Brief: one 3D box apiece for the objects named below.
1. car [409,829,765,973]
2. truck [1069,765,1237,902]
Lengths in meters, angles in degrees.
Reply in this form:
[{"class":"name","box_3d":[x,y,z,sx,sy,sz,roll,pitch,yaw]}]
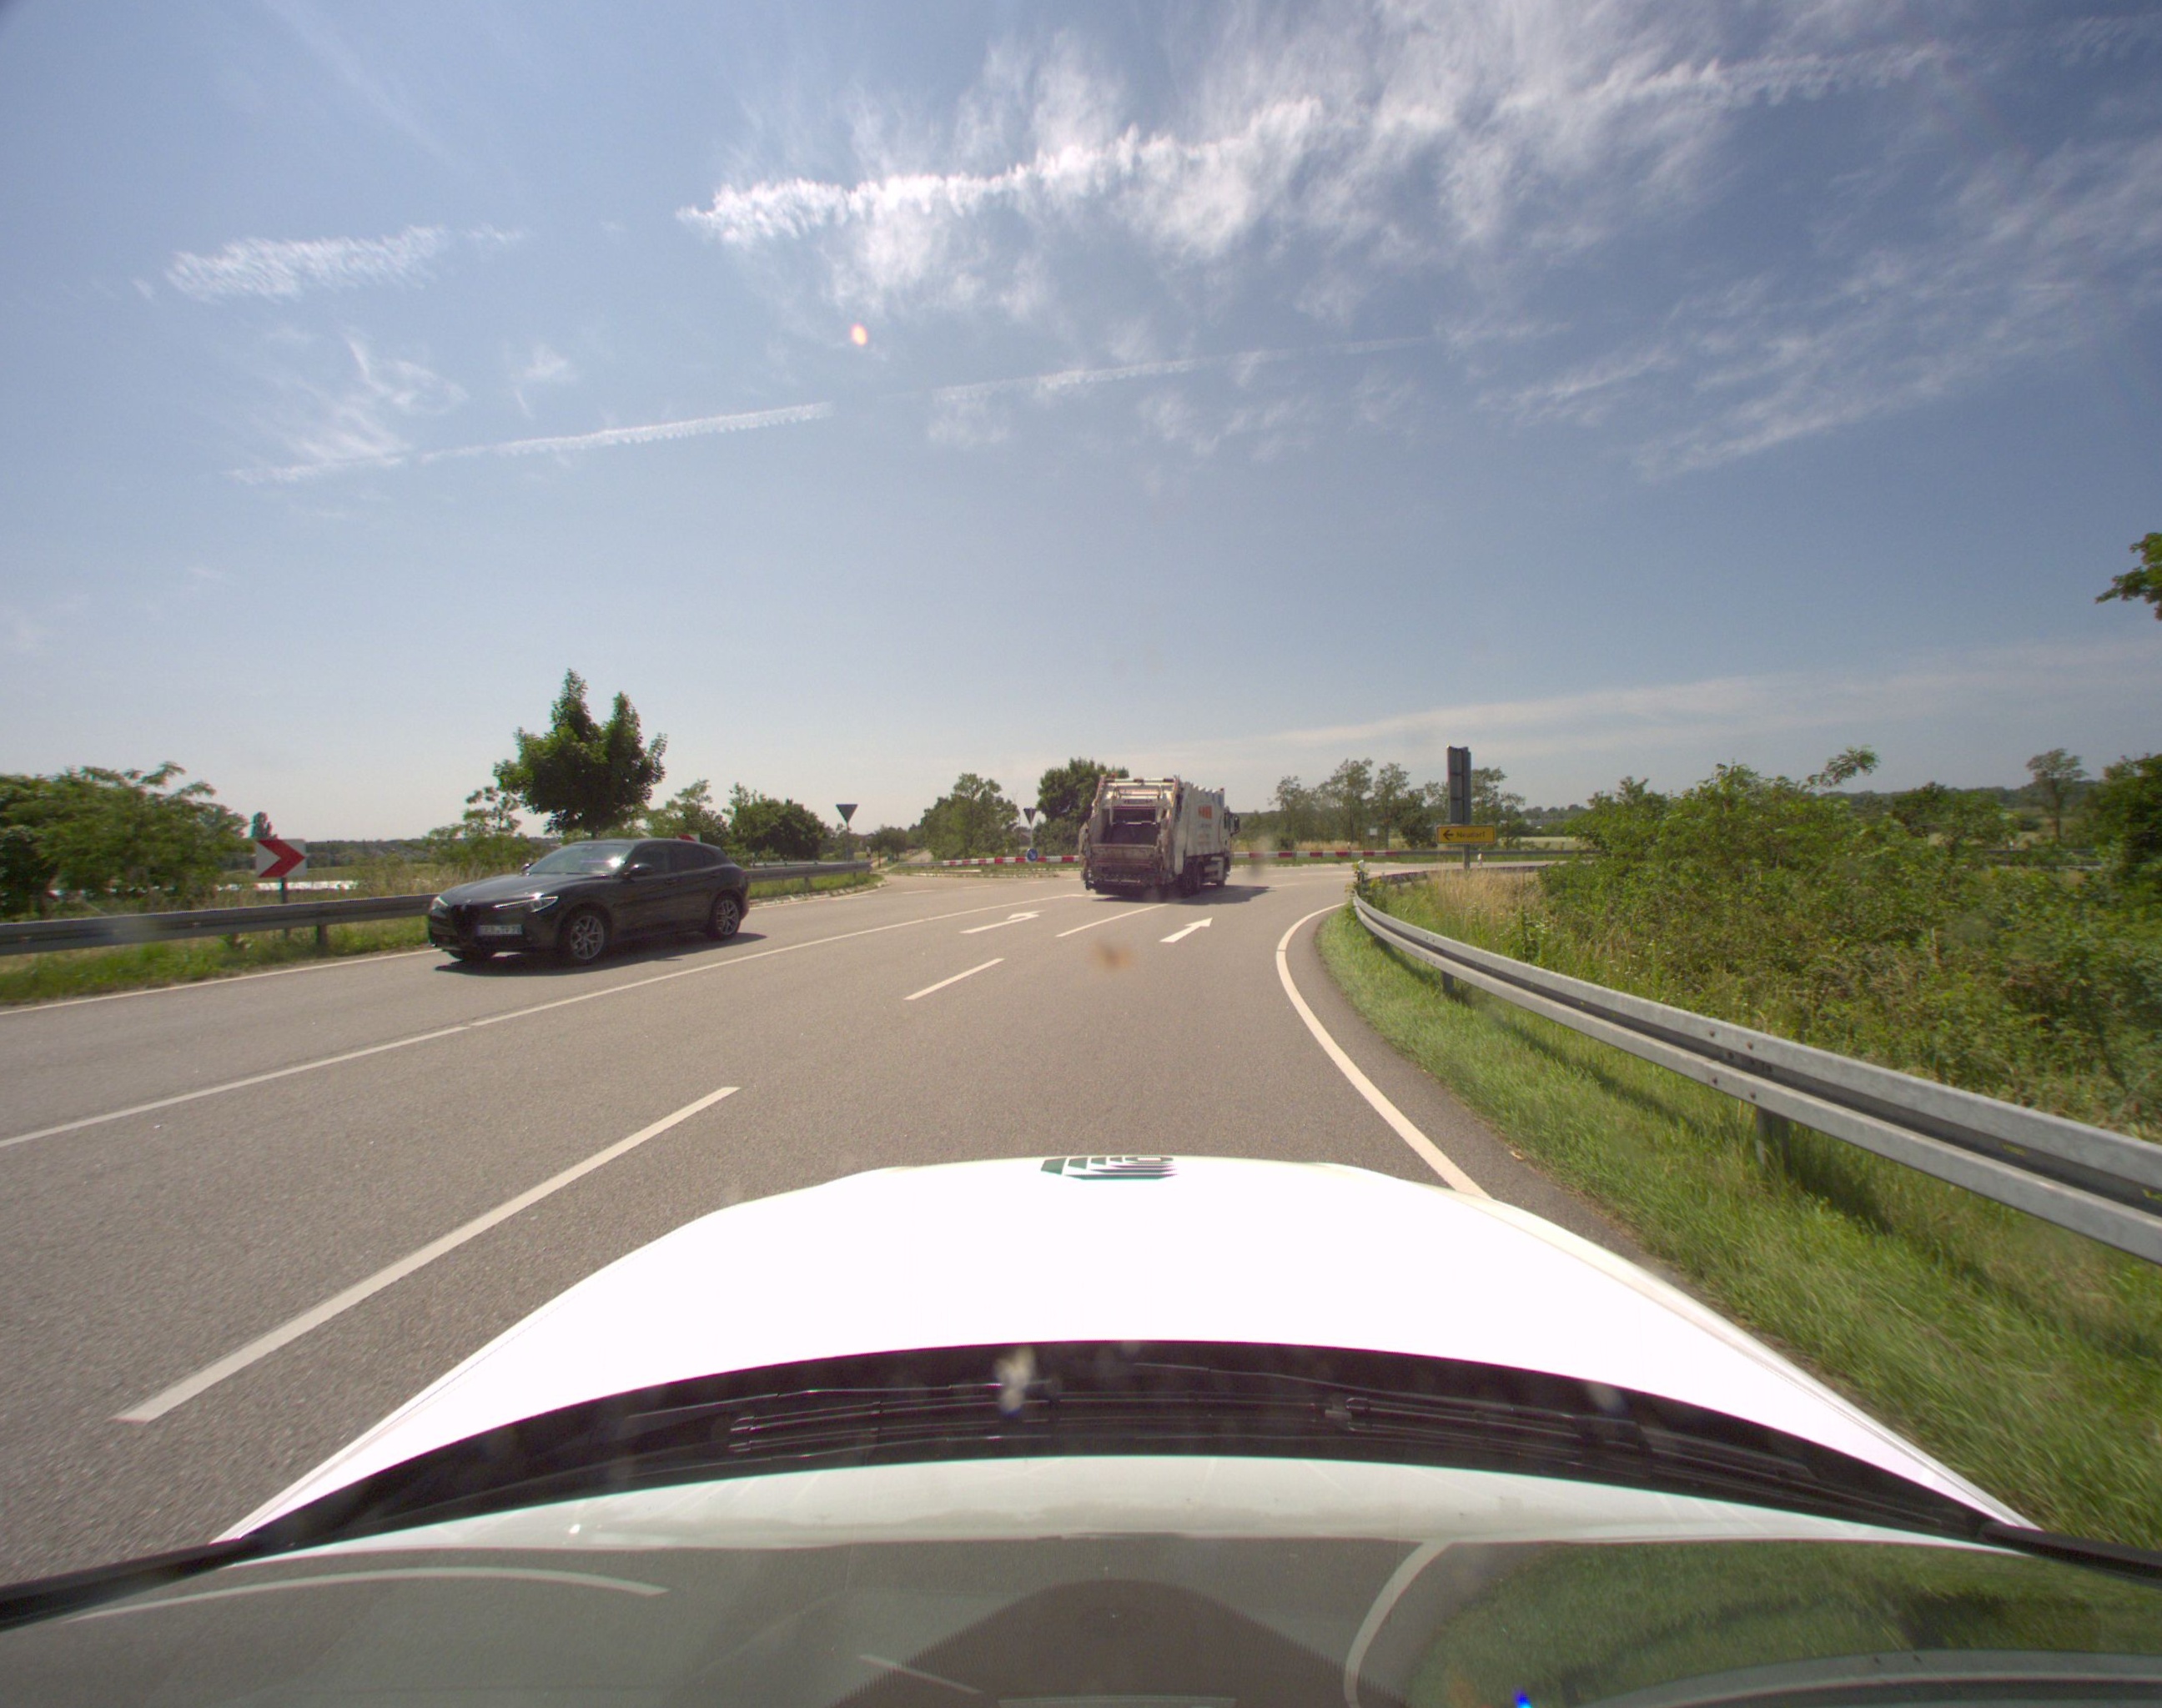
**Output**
[{"class":"car","box_3d":[-6.809,0.513,11.952,1.699,1.657,4.585,1,1,13]},{"class":"truck","box_3d":[2.816,-0.670,26.929,2.789,3.668,10.001,1,1,21]}]
